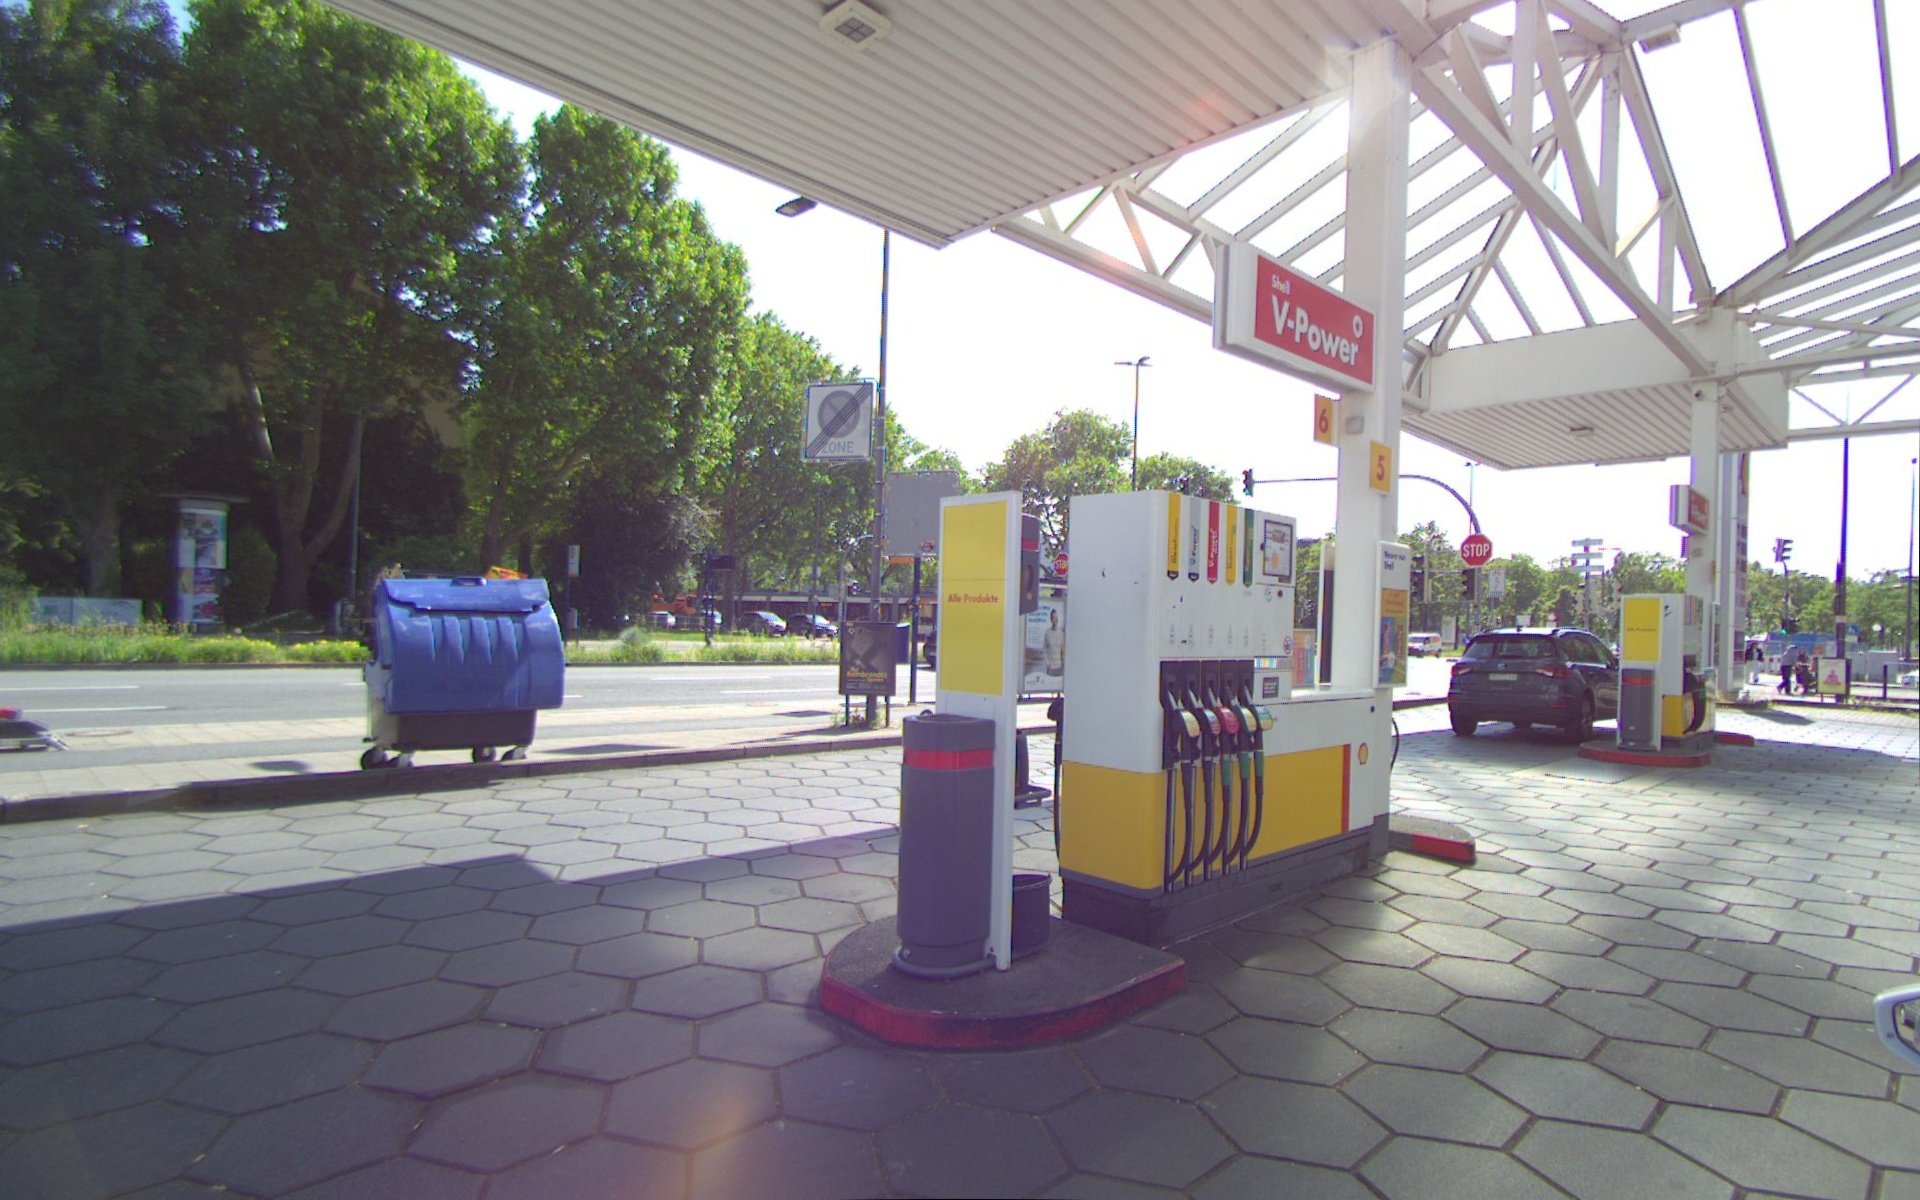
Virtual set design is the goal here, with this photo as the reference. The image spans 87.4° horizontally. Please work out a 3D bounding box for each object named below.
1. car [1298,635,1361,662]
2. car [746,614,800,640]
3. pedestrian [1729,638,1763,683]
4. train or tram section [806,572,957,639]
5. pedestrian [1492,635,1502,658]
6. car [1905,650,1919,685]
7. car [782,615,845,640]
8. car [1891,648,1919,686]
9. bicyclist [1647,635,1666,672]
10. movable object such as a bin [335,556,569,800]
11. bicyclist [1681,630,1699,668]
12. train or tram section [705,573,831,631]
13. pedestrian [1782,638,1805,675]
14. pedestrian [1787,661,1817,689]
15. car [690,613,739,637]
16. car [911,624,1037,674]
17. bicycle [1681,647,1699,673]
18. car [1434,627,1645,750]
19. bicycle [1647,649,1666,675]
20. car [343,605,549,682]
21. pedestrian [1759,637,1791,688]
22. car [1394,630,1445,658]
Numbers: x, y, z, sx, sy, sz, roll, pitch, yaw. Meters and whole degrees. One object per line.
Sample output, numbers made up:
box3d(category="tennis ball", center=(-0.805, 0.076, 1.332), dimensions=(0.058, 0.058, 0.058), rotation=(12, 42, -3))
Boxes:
box3d(category="car", center=(25.851, 3.394, 70.262), dimensions=(4.163, 1.829, 1.984), rotation=(3, -3, -31))
box3d(category="car", center=(-12.949, 1.868, 69.302), dimensions=(1.856, 1.711, 3.950), rotation=(3, -3, -42))
box3d(category="pedestrian", center=(31.216, 2.391, 39.902), dimensions=(0.497, 1.705, 0.928), rotation=(2, -1, -29))
box3d(category="train or tram section", center=(-6.230, 0.367, 75.235), dimensions=(2.313, 4.549, 14.748), rotation=(3, -2, -44))
box3d(category="pedestrian", center=(35.839, 3.097, 67.049), dimensions=(0.555, 1.488, 0.513), rotation=(2, -1, 30))
box3d(category="car", center=(44.847, 3.110, 44.952), dimensions=(3.639, 1.572, 1.584), rotation=(1, -1, 41))
box3d(category="car", center=(-9.382, 1.776, 64.393), dimensions=(3.940, 1.532, 1.860), rotation=(-1, -3, 40))
box3d(category="car", center=(42.488, 2.937, 42.862), dimensions=(3.941, 1.572, 1.695), rotation=(1, -1, 41))
box3d(category="bicyclist", center=(30.637, 2.337, 44.178), dimensions=(0.630, 1.601, 1.169), rotation=(2, -1, 37))
box3d(category="movable object such as a bin", center=(-4.046, 0.592, 7.999), dimensions=(1.328, 1.710, 1.326), rotation=(3, -4, -43))
box3d(category="bicyclist", center=(31.499, 2.110, 43.343), dimensions=(0.526, 1.564, 0.862), rotation=(2, -1, 39))
box3d(category="train or tram section", center=(-16.786, 0.137, 86.265), dimensions=(2.313, 4.549, 15.717), rotation=(3, -2, -44))
box3d(category="pedestrian", center=(36.579, 2.486, 44.093), dimensions=(0.498, 1.561, 0.646), rotation=(2, -1, -35))
box3d(category="pedestrian", center=(28.677, 2.561, 34.207), dimensions=(0.680, 0.892, 0.502), rotation=(1, -1, 31))
box3d(category="car", center=(-18.241, 1.862, 74.683), dimensions=(1.856, 1.711, 3.950), rotation=(3, -3, -42))
box3d(category="car", center=(0.492, 1.558, 31.916), dimensions=(3.976, 1.385, 1.663), rotation=(3, 0, -45))
box3d(category="bicycle", center=(31.494, 2.573, 43.330), dimensions=(0.516, 1.096, 1.859), rotation=(1, -1, 38))
box3d(category="car", center=(8.646, 1.232, 14.834), dimensions=(3.975, 1.552, 1.726), rotation=(4, -3, -45))
box3d(category="bicycle", center=(30.600, 2.719, 44.105), dimensions=(0.629, 1.096, 2.019), rotation=(2, -1, 36))
box3d(category="car", center=(-13.274, 1.120, 26.098), dimensions=(4.360, 1.792, 1.975), rotation=(3, -1, -43))
box3d(category="pedestrian", center=(28.061, 2.141, 34.584), dimensions=(0.765, 1.705, 0.502), rotation=(1, -1, 31))
box3d(category="car", center=(35.533, 3.433, 77.667), dimensions=(4.413, 2.040, 1.976), rotation=(3, -3, -41))
